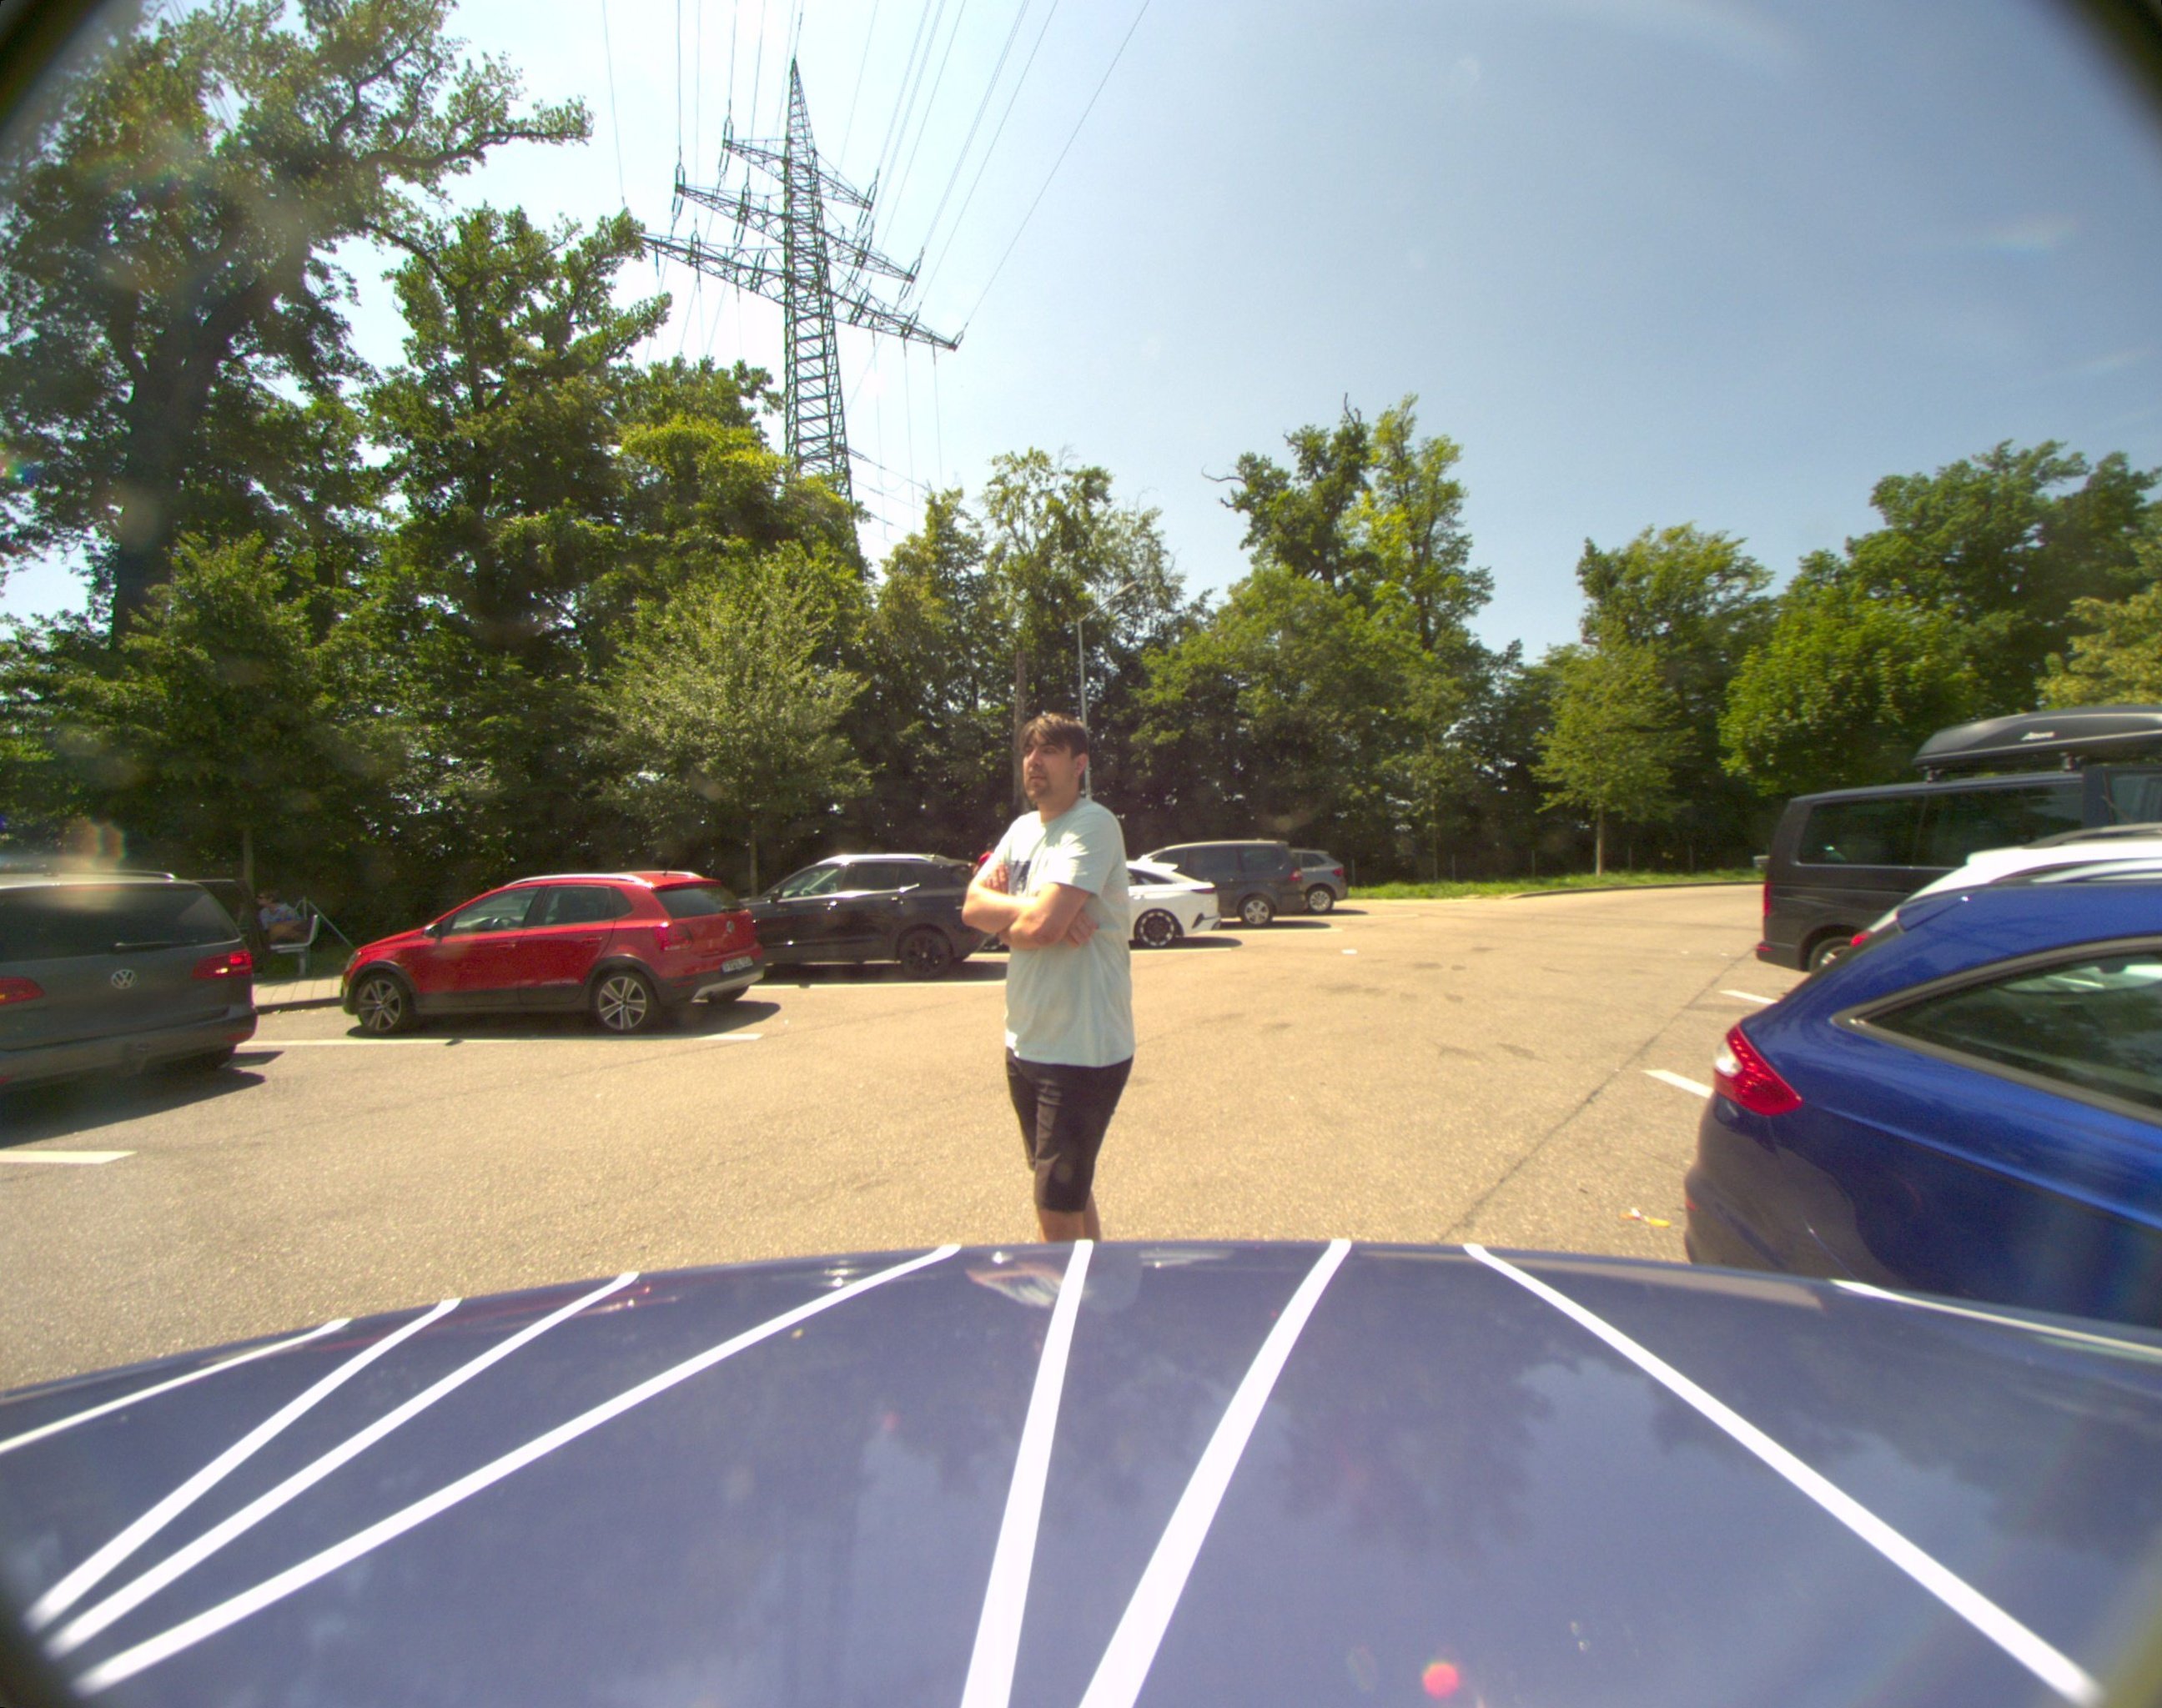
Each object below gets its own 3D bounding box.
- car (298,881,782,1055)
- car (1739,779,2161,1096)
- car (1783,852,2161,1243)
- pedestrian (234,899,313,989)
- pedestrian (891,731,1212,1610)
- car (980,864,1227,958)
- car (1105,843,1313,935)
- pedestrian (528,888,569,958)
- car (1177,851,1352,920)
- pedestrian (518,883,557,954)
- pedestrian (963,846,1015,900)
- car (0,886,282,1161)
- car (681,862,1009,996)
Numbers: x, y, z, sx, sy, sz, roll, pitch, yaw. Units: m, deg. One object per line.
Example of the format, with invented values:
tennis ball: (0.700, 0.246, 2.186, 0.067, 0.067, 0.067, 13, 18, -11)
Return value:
car: (-5.244, 1.067, 7.635, 3.804, 1.449, 1.637, -1, 1, 7)
car: (7.305, 0.458, 4.995, 2.048, 1.850, 4.430, -2, -1, -1)
car: (4.777, 0.703, 2.399, 1.607, 1.405, 3.743, -2, -1, -1)
pedestrian: (-11.769, 1.293, 11.073, 0.680, 1.211, 0.675, -4, -2, 36)
pedestrian: (-0.136, 0.666, 2.054, 0.634, 1.857, 0.747, -2, 0, -17)
car: (0.405, 0.912, 12.712, 3.805, 1.359, 1.803, -1, 1, 5)
car: (2.507, 0.685, 15.462, 3.882, 1.680, 1.882, -1, 0, 5)
pedestrian: (-10.171, 1.303, 14.506, 0.490, 1.291, 0.506, -2, 0, 41)
car: (4.254, 0.713, 18.087, 3.805, 1.468, 1.743, -1, 1, 5)
pedestrian: (-10.956, 1.286, 15.312, 0.490, 1.367, 0.506, -2, 0, 41)
pedestrian: (-2.256, 0.463, 18.682, 0.890, 1.292, 0.865, -2, 0, 23)
car: (-8.345, 1.098, 5.419, 3.950, 1.581, 1.753, -1, 1, 11)
car: (-3.009, 0.942, 10.263, 3.806, 1.538, 1.759, -1, 1, 2)
